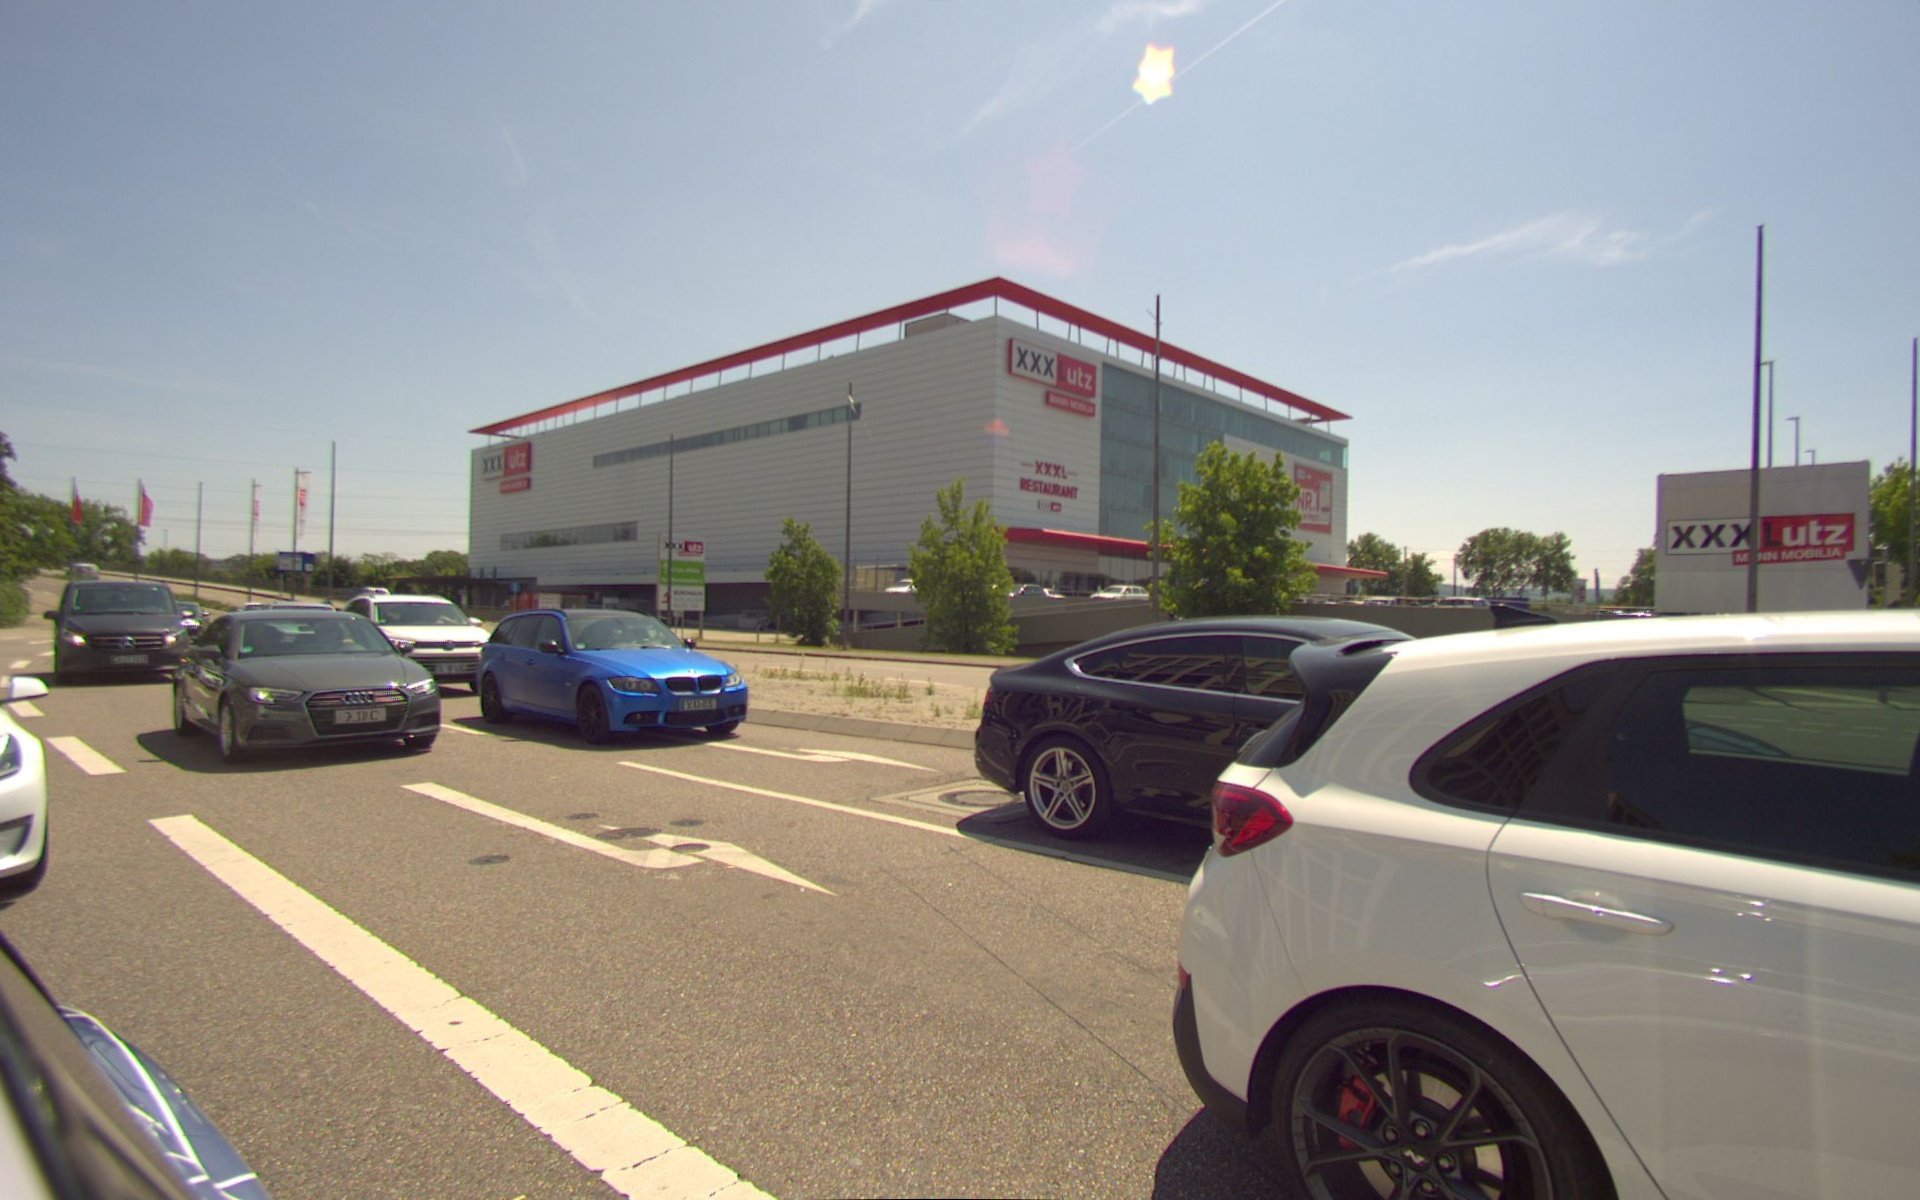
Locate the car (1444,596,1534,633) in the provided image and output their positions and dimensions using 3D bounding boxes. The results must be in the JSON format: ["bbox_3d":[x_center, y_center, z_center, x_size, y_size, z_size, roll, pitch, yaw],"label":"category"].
[{"bbox_3d":[30.320,0.801,58.028,4.324,2.029,1.974,0,-1,38],"label":"car"}]

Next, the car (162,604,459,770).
[{"bbox_3d":[-6.894,0.755,10.561,4.091,1.393,1.745,-1,-1,44],"label":"car"}]

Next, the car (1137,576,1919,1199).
[{"bbox_3d":[2.525,0.685,1.755,4.069,1.447,1.769,0,0,42],"label":"car"}]

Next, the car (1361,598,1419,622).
[{"bbox_3d":[35.392,0.840,83.287,4.000,1.915,1.972,0,-2,43],"label":"car"}]

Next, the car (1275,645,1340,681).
[{"bbox_3d":[18.181,3.243,52.867,1.998,1.719,3.948,0,-2,38],"label":"car"}]

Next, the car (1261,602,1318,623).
[{"bbox_3d":[27.300,1.045,83.932,4.135,1.694,1.758,0,-1,42],"label":"car"}]

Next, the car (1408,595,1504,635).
[{"bbox_3d":[26.416,0.791,53.955,4.324,2.029,1.974,0,-1,38],"label":"car"}]

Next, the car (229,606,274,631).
[{"bbox_3d":[-43.770,1.155,62.490,1.701,1.483,4.003,2,-2,-44],"label":"car"}]

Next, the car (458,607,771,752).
[{"bbox_3d":[-4.265,0.818,12.080,4.433,1.413,1.745,-1,-2,45],"label":"car"}]

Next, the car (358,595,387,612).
[{"bbox_3d":[-79.656,0.464,137.187,4.815,2.300,2.162,0,-2,45],"label":"car"}]

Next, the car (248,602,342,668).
[{"bbox_3d":[-16.046,0.800,24.351,1.741,1.433,3.908,0,-1,-36],"label":"car"}]

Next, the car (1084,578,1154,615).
[{"bbox_3d":[9.198,-0.162,58.358,4.406,2.029,1.680,2,-2,-43],"label":"car"}]

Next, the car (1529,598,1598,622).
[{"bbox_3d":[44.424,0.728,74.513,4.135,1.754,1.758,0,-1,42],"label":"car"}]

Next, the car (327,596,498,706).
[{"bbox_3d":[-9.572,0.766,17.505,1.743,1.653,4.499,0,0,-40],"label":"car"}]

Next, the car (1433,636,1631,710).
[{"bbox_3d":[11.965,1.492,21.405,3.411,1.374,1.611,0,-1,20],"label":"car"}]

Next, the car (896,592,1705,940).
[{"bbox_3d":[1.745,0.727,6.263,4.466,1.415,1.653,-1,-2,43],"label":"car"}]

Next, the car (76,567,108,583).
[{"bbox_3d":[-101.018,-2.890,117.731,4.033,1.736,1.846,0,-1,34],"label":"car"}]

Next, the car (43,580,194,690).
[{"bbox_3d":[-16.147,0.583,19.316,1.869,1.835,4.841,0,0,-44],"label":"car"}]

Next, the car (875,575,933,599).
[{"bbox_3d":[-3.835,-0.903,70.151,1.717,1.519,3.943,0,-2,43],"label":"car"}]

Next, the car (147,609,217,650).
[{"bbox_3d":[-29.057,1.070,37.887,1.582,1.450,3.744,2,-1,-30],"label":"car"}]

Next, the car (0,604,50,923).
[{"bbox_3d":[-6.439,0.752,5.476,4.283,1.447,1.799,0,0,42],"label":"car"}]
